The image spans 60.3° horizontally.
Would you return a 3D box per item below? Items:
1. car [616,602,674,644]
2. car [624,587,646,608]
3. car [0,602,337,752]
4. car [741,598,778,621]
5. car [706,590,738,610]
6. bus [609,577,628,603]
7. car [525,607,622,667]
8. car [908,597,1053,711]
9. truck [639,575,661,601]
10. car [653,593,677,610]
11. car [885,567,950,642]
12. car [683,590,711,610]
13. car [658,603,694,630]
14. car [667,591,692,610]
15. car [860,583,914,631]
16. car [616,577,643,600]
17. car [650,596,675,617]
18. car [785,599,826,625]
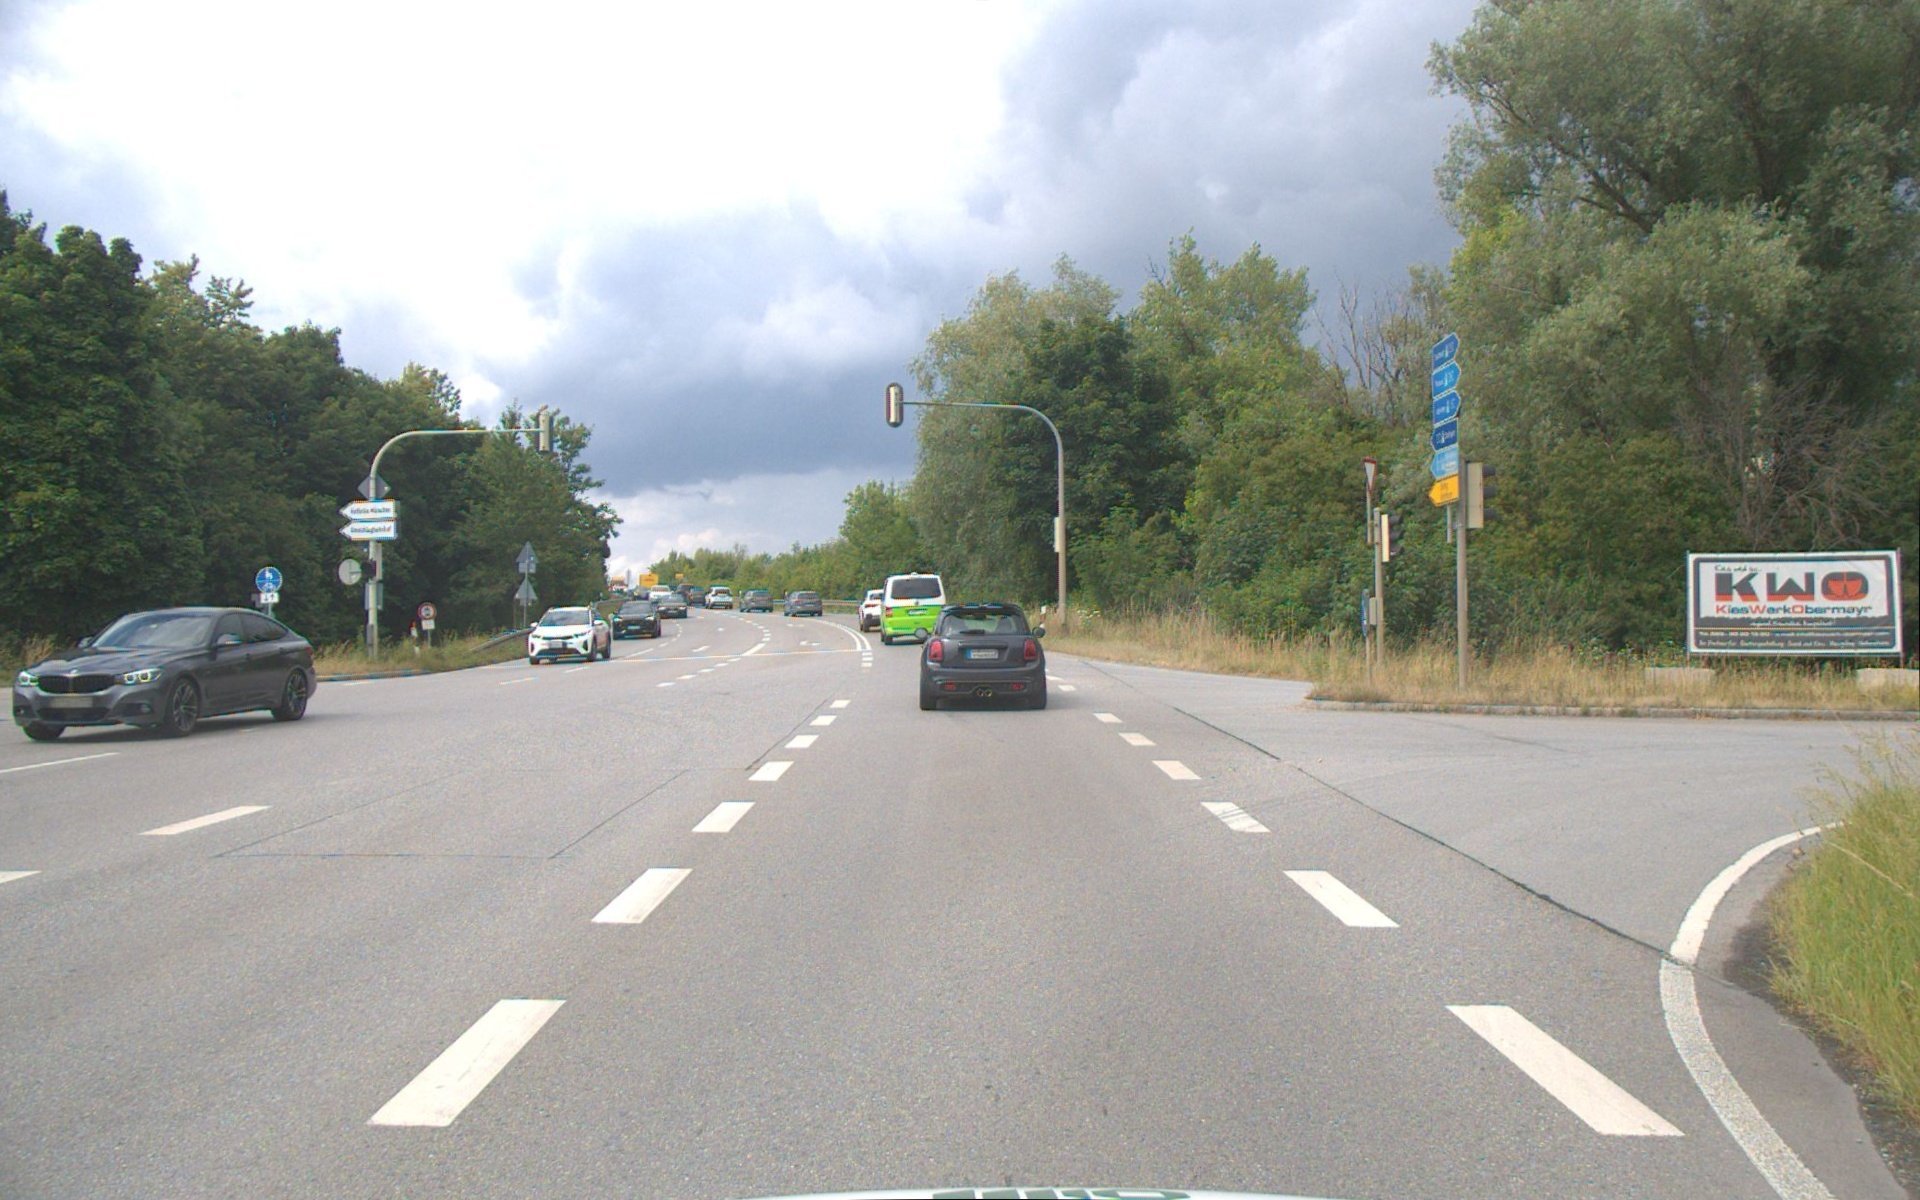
[{"bbox_3d":[-13.179,0.933,69.463,1.727,1.610,4.201,-3,0,-2],"label":"car"},{"bbox_3d":[-32.336,-0.221,164.508,1.960,2.049,3.984,1,0,-15],"label":"car"},{"bbox_3d":[-9.494,0.842,20.231,1.751,1.557,4.904,-2,0,1],"label":"car"},{"bbox_3d":[-13.778,0.659,113.561,1.960,1.502,4.467,0,-1,-15],"label":"car"},{"bbox_3d":[-18.488,-0.021,128.339,1.961,1.502,4.466,0,-1,-16],"label":"car"},{"bbox_3d":[-45.460,-1.294,220.269,1.961,3.360,7.397,-1,1,-16],"label":"bus"},{"bbox_3d":[-10.623,0.985,45.722,1.694,1.531,4.345,-1,0,-1],"label":"car"},{"bbox_3d":[0.211,0.714,23.458,1.808,1.453,3.839,-1,0,-3],"label":"car"},{"bbox_3d":[-40.439,-1.579,215.518,2.669,2.949,8.744,1,-2,-12],"label":"truck"},{"bbox_3d":[-31.927,0.175,179.091,1.962,1.725,4.463,0,-1,-18],"label":"car"},{"bbox_3d":[-1.268,0.080,48.279,1.808,2.021,3.840,0,2,-3],"label":"car"},{"bbox_3d":[-23.185,0.044,145.708,1.961,1.725,4.466,0,-1,-16],"label":"car"},{"bbox_3d":[-17.344,0.998,101.133,1.704,1.429,4.247,-6,1,-4],"label":"car"},{"bbox_3d":[-27.256,0.054,160.561,1.961,1.725,4.466,0,-1,-16],"label":"car"},{"bbox_3d":[-2.792,0.267,62.872,1.954,1.713,3.997,-1,0,-3],"label":"car"},{"bbox_3d":[-25.719,-0.898,128.753,1.959,1.720,3.987,-1,1,-13],"label":"car"},{"bbox_3d":[-24.627,0.491,136.956,1.957,1.641,3.991,-1,1,-10],"label":"car"},{"bbox_3d":[-9.067,0.695,96.705,1.958,1.502,4.473,0,-1,-11],"label":"car"}]
